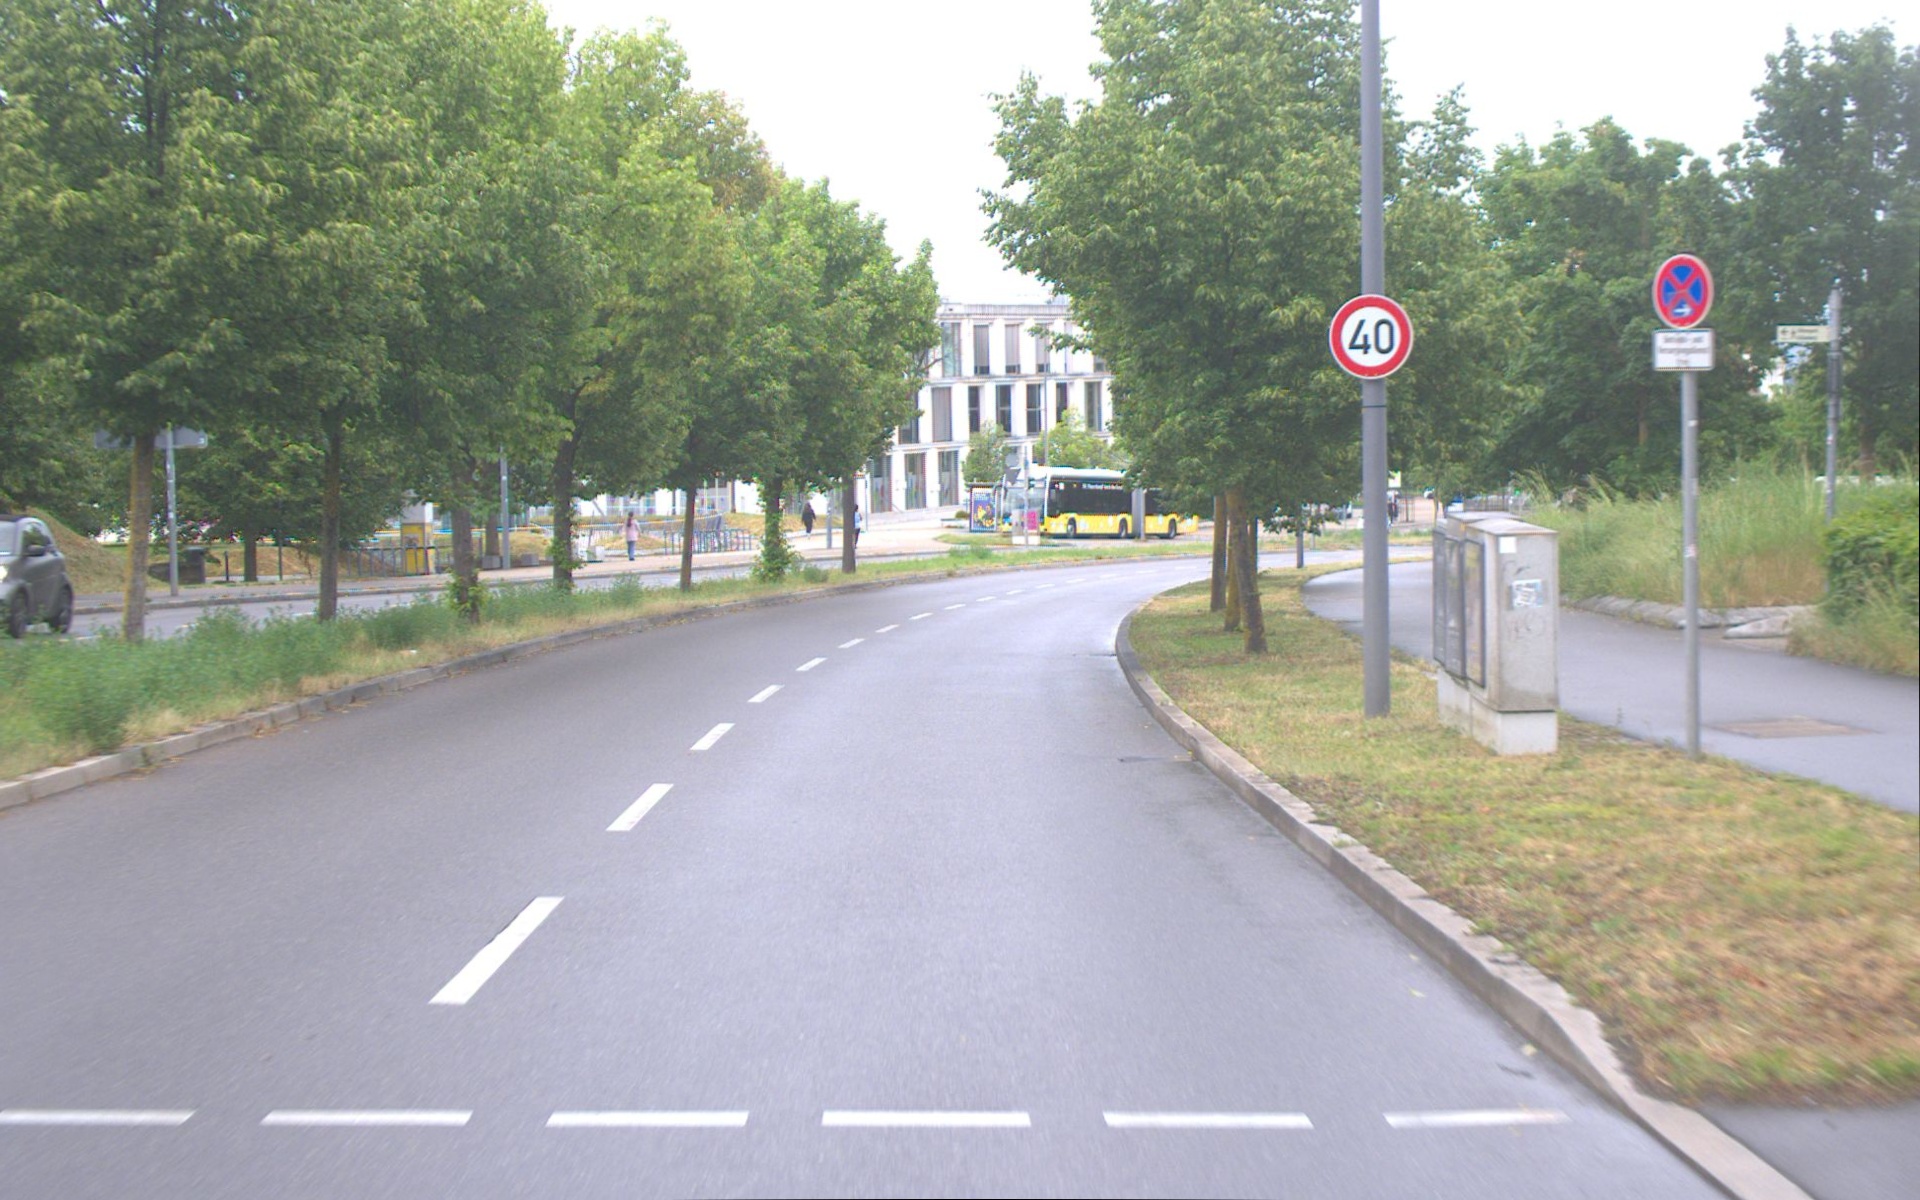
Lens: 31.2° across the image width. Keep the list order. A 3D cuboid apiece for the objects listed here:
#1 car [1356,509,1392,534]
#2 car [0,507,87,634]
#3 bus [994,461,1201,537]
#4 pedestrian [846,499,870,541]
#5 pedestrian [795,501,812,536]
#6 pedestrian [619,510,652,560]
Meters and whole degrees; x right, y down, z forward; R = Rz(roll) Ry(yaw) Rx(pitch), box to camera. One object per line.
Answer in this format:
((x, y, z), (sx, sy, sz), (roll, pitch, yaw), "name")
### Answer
((25.072, -4.746, 208.177), (1.480, 1.489, 2.527), (0, 1, 25), "car")
((-12.422, -0.402, 43.993), (1.686, 1.534, 2.916), (0, 2, 2), "car")
((7.030, -4.906, 169.754), (2.789, 3.345, 18.199), (0, 0, 27), "bus")
((-3.807, -2.986, 128.262), (0.834, 1.568, 0.719), (0, 0, -4), "pedestrian")
((-6.823, -3.571, 150.319), (0.682, 1.519, 0.719), (0, 0, 2), "pedestrian")
((-10.485, -2.099, 111.179), (0.814, 1.615, 0.935), (0, 0, 13), "pedestrian")
